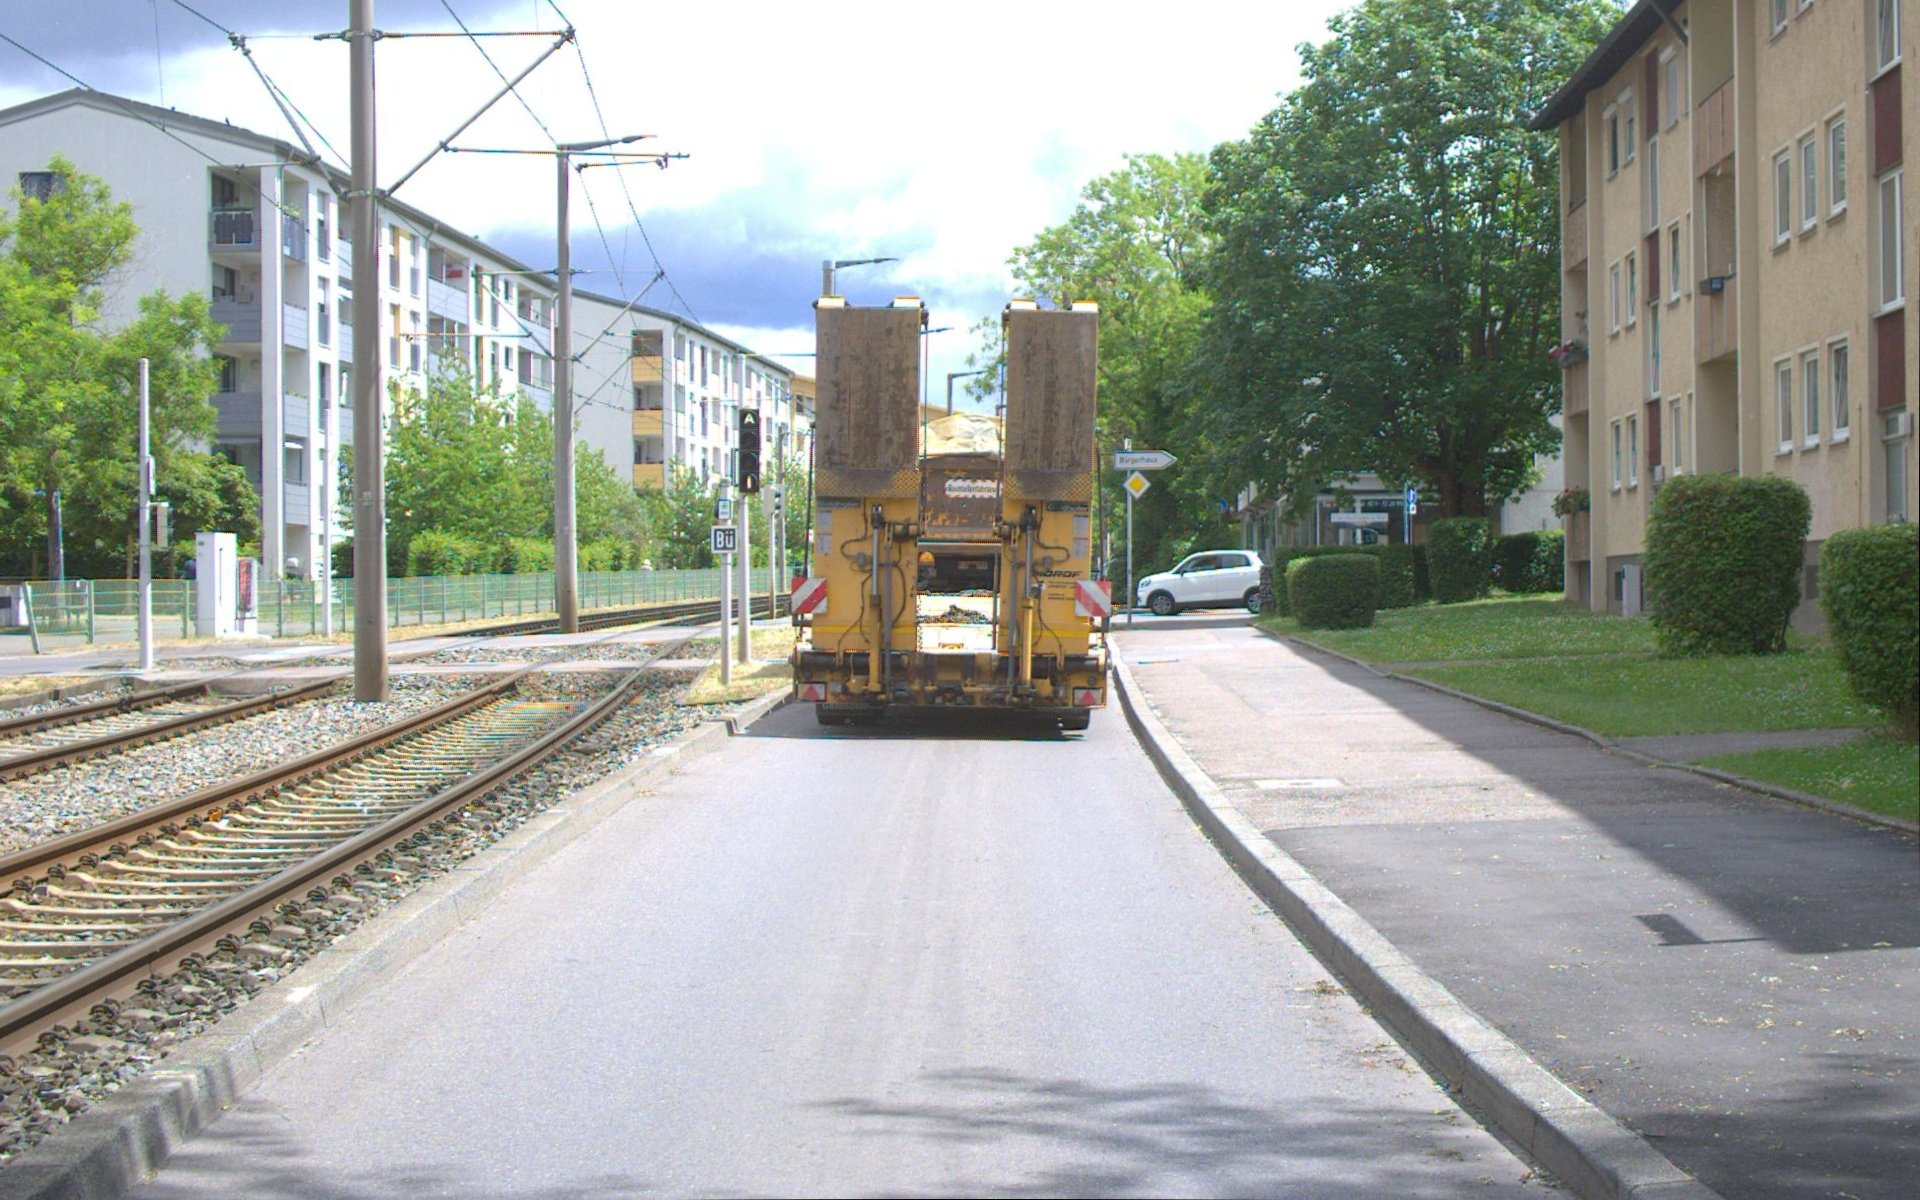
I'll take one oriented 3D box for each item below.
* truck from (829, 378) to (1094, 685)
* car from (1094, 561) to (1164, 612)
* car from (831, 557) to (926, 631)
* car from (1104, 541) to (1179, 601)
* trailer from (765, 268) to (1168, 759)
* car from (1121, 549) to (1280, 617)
[{"bbox_3d":[-0.029,-0.857,42.097,2.833,3.319,7.985,-2,1,-1],"label":"truck"},{"bbox_3d":[5.100,-0.422,104.086,1.993,1.382,4.000,-2,1,1],"label":"car"},{"bbox_3d":[-1.885,-0.135,80.865,1.802,1.646,4.131,-2,0,4],"label":"car"},{"bbox_3d":[5.197,-0.845,98.836,1.993,1.612,4.000,-2,1,1],"label":"car"},{"bbox_3d":[-0.013,-0.823,32.752,3.050,3.759,11.613,-2,1,-1],"label":"trailer"},{"bbox_3d":[5.958,-0.417,84.954,3.600,1.579,1.999,-1,0,14],"label":"car"}]
